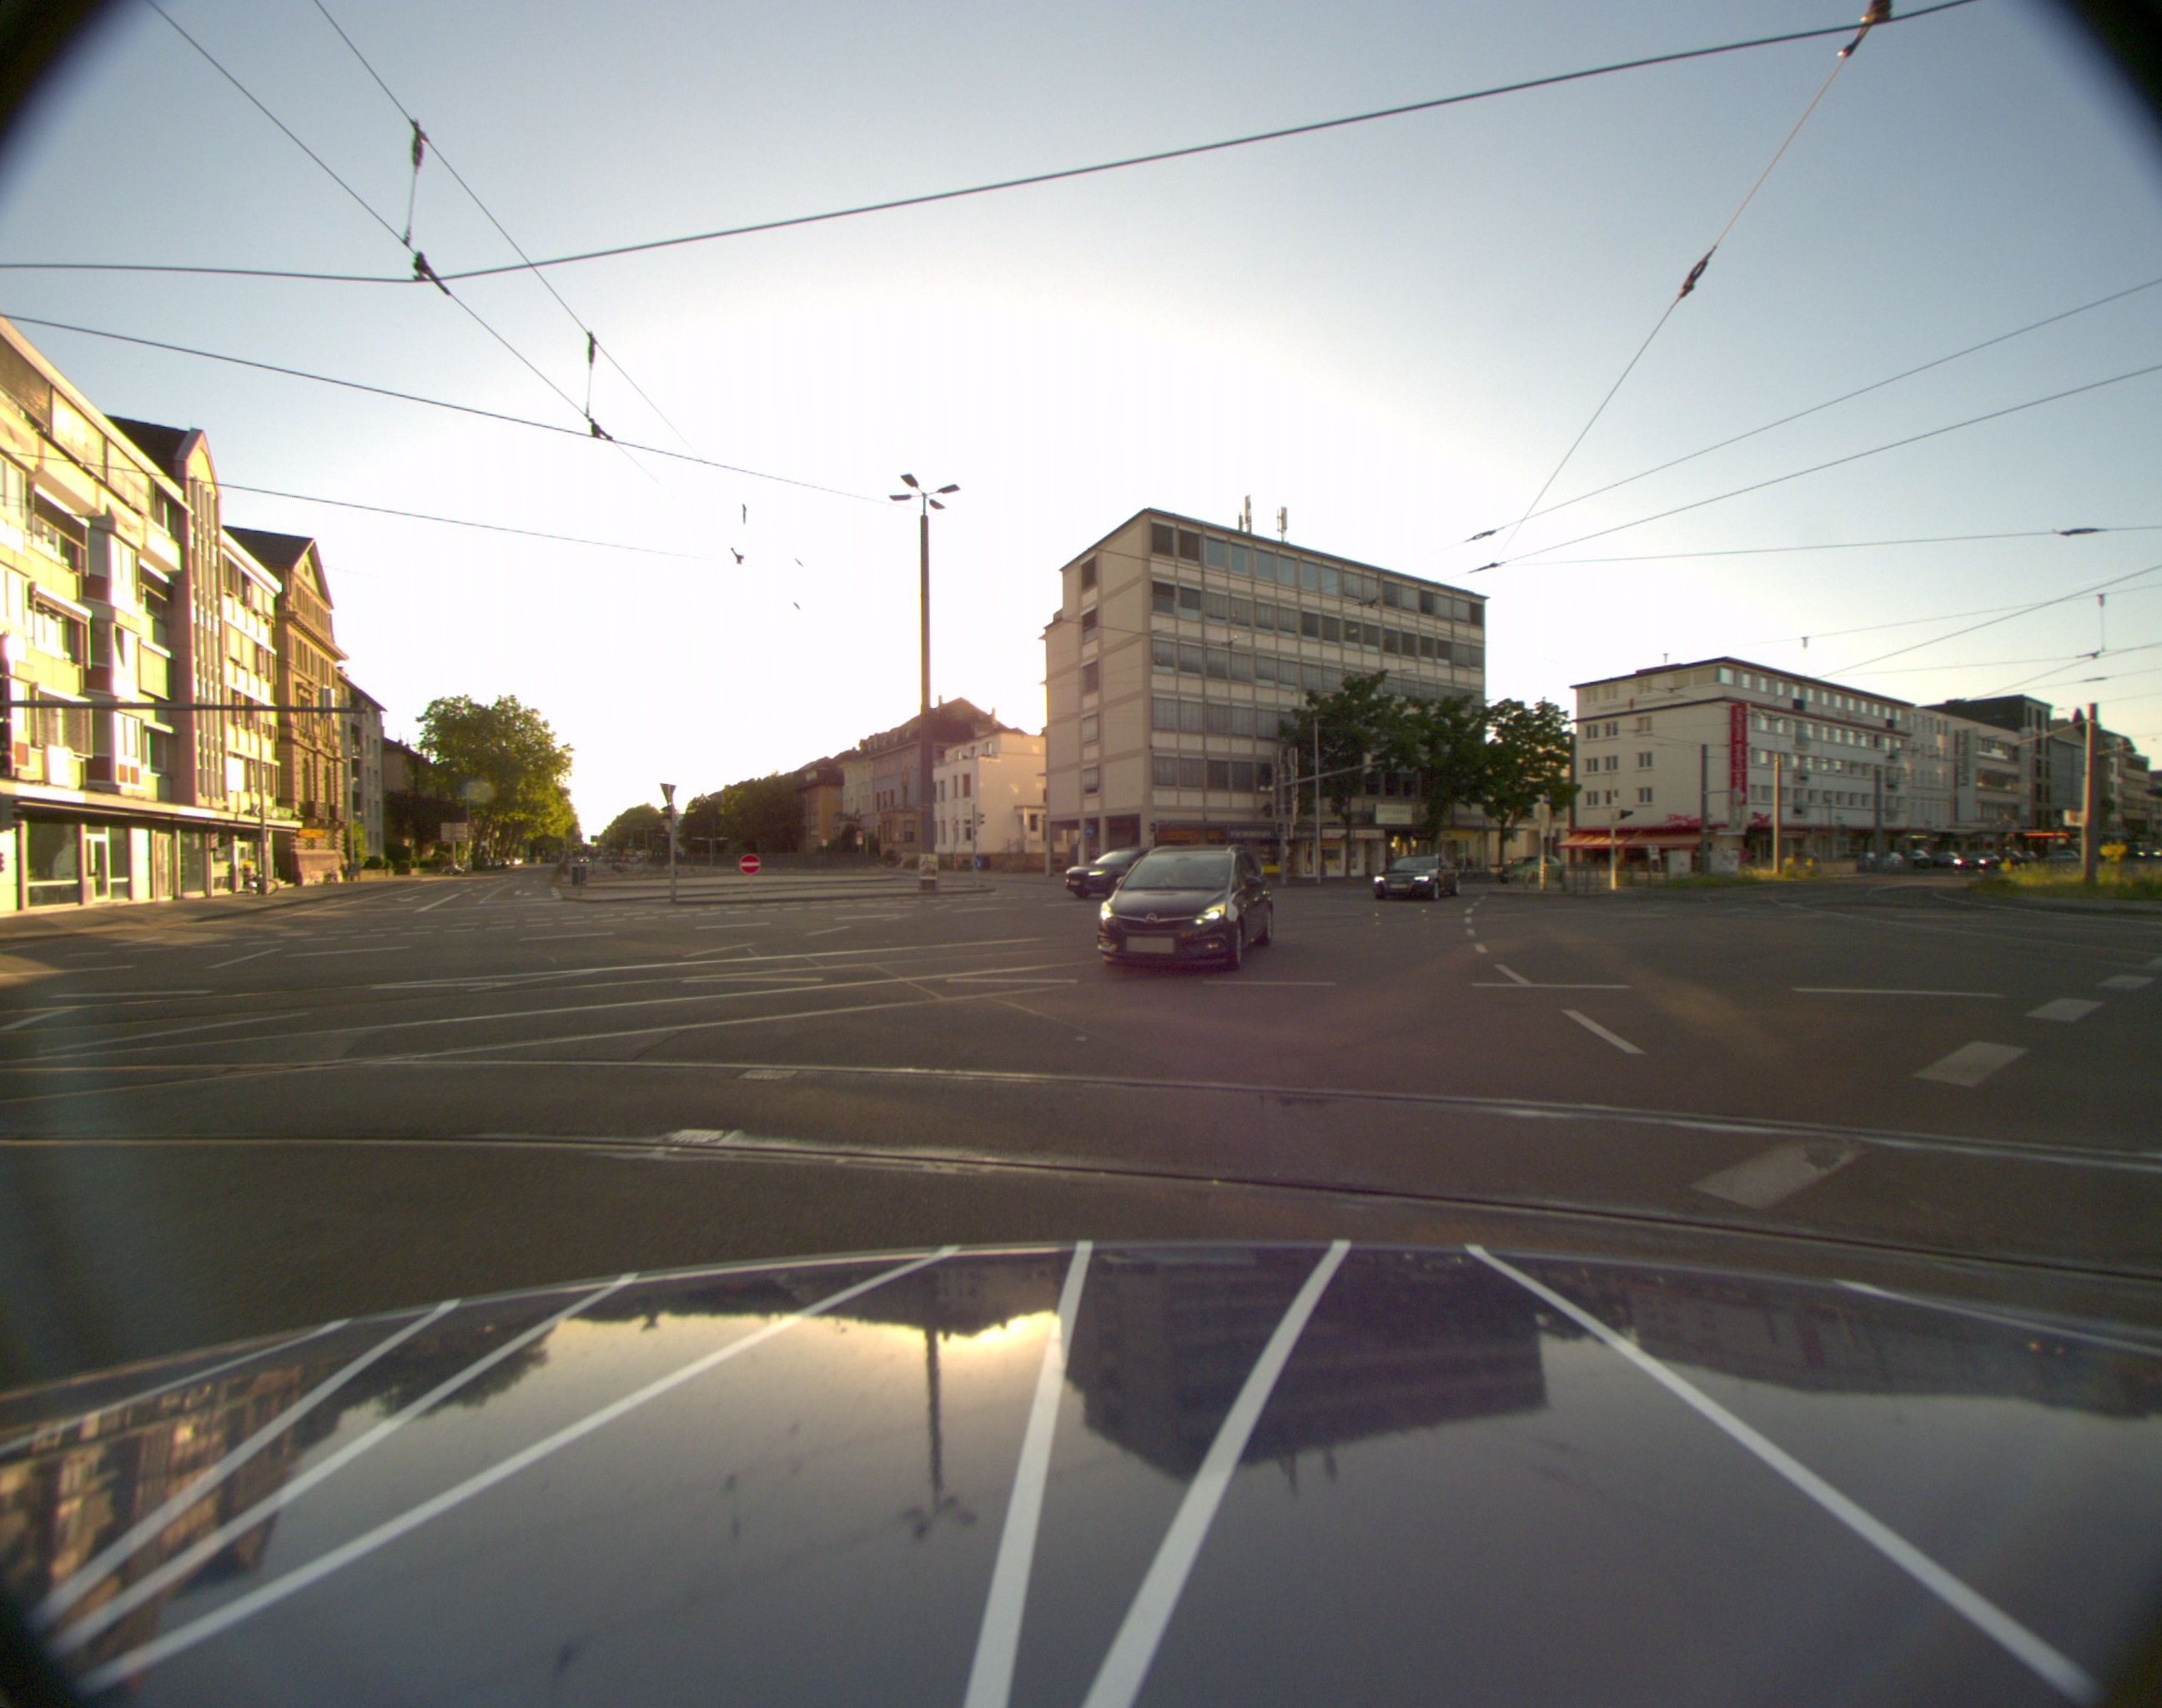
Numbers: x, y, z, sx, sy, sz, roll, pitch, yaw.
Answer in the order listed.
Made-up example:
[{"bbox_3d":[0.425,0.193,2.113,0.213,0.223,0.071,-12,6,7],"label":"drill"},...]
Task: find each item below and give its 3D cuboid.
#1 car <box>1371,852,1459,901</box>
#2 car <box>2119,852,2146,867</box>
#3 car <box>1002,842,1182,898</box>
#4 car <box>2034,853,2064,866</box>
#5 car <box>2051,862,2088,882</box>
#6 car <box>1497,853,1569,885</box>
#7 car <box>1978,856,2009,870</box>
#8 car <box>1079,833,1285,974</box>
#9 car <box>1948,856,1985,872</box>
[{"bbox_3d":[10.843,0.660,24.509,1.847,1.400,4.233,0,0,34],"label":"car"},{"bbox_3d":[143.716,0.710,103.903,4.008,2.002,1.994,-1,1,-38],"label":"car"},{"bbox_3d":[0.434,0.440,24.078,5.588,1.618,2.026,0,1,-35],"label":"car"},{"bbox_3d":[99.000,0.592,77.717,3.429,1.269,1.562,0,1,-33],"label":"car"},{"bbox_3d":[99.724,1.777,76.635,4.007,2.002,1.995,0,0,-34],"label":"car"},{"bbox_3d":[23.510,0.732,39.506,4.031,1.557,1.744,0,1,-35],"label":"car"},{"bbox_3d":[90.107,0.888,75.005,3.429,1.269,1.562,0,1,-33],"label":"car"},{"bbox_3d":[1.690,0.552,11.029,1.797,1.609,4.394,0,0,24],"label":"car"},{"bbox_3d":[74.359,0.788,63.763,3.429,1.269,1.562,0,1,-33],"label":"car"}]
